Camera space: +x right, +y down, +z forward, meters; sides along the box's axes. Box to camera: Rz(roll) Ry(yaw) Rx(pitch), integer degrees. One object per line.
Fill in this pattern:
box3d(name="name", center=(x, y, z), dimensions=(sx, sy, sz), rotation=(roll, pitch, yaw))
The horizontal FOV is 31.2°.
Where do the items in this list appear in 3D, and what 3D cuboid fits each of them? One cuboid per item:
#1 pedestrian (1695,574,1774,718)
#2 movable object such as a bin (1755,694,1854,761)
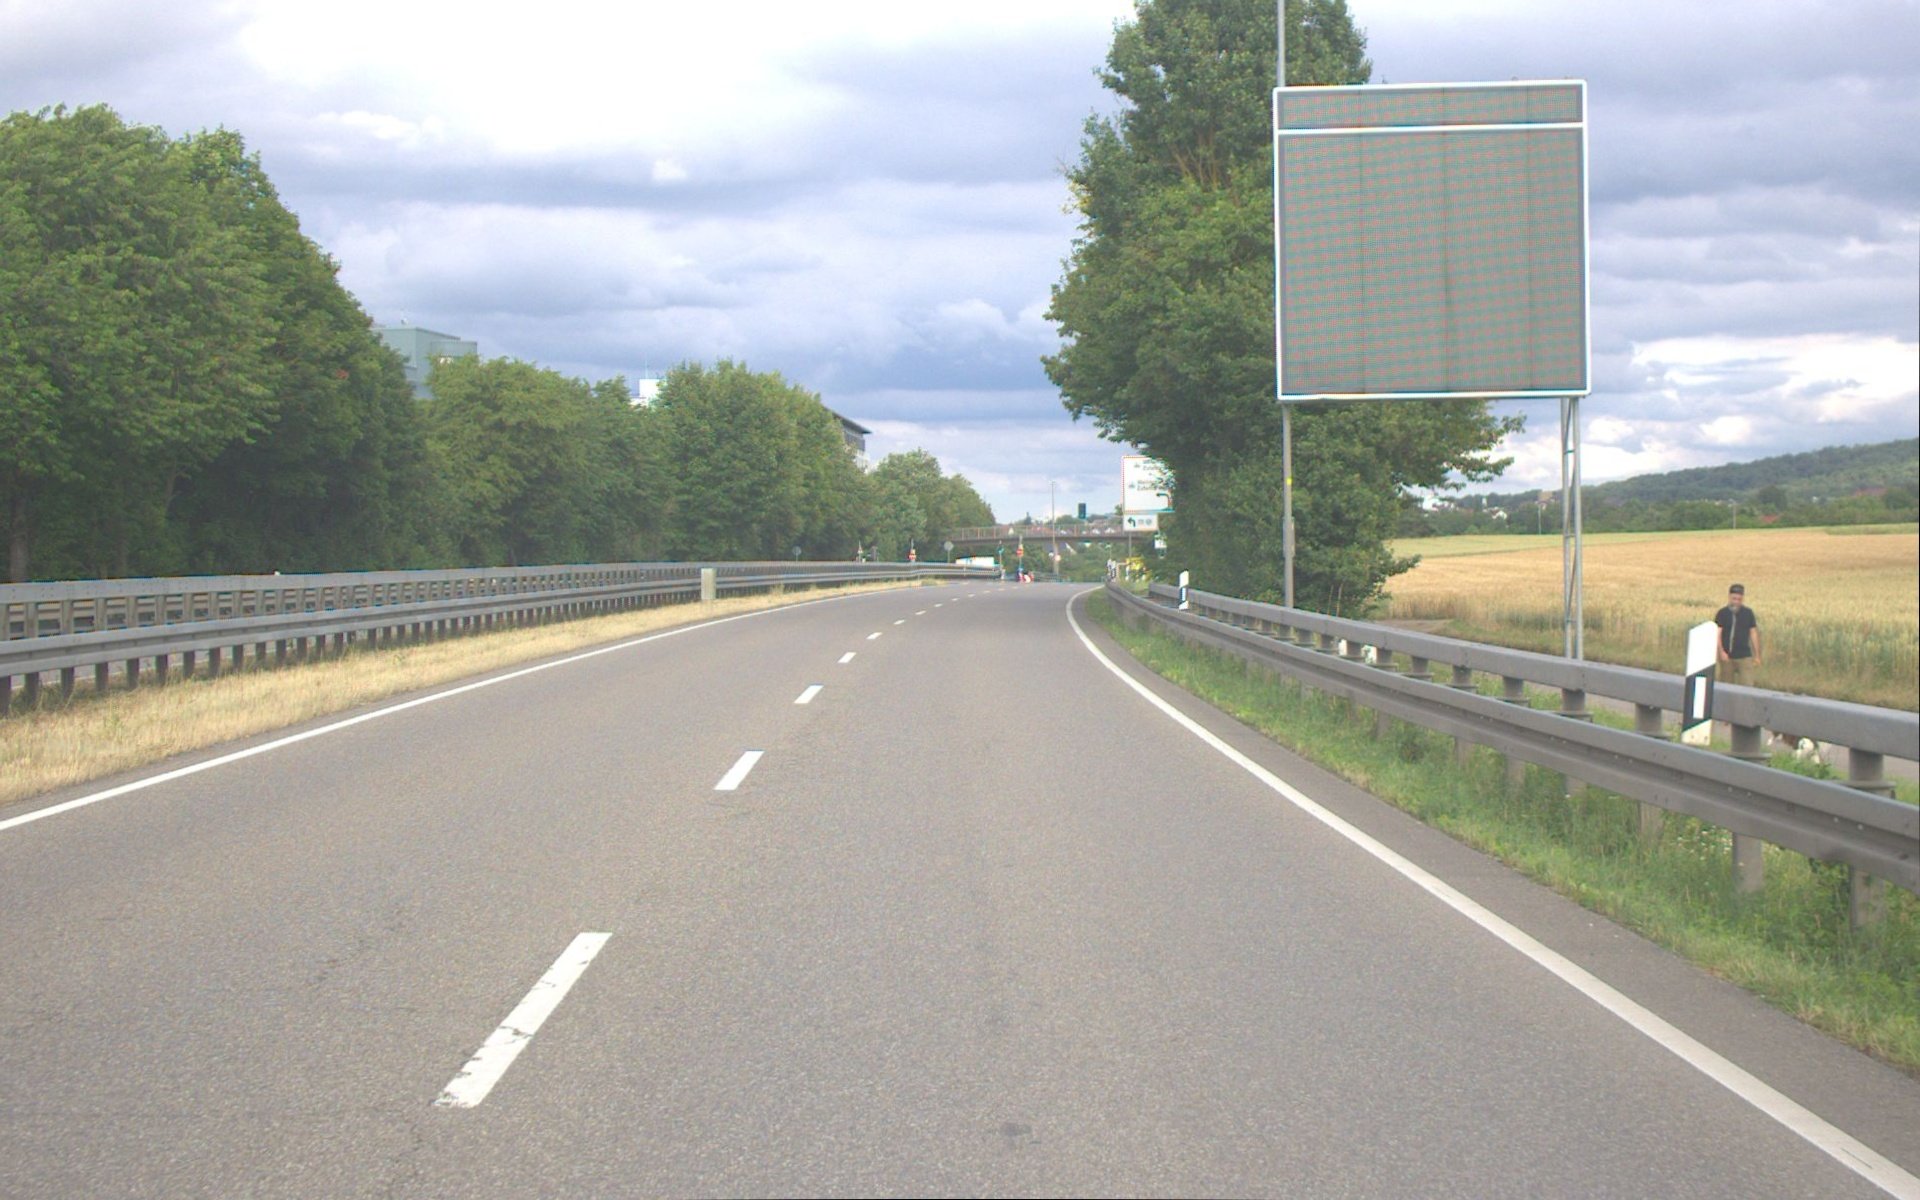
box3d(name="pedestrian", center=(10.163, 0.595, 45.151), dimensions=(0.771, 1.861, 0.940), rotation=(1, 0, 0))
box3d(name="movable object such as a bin", center=(9.012, 1.352, 36.716), dimensions=(0.732, 0.643, 1.235), rotation=(1, 0, 0))
